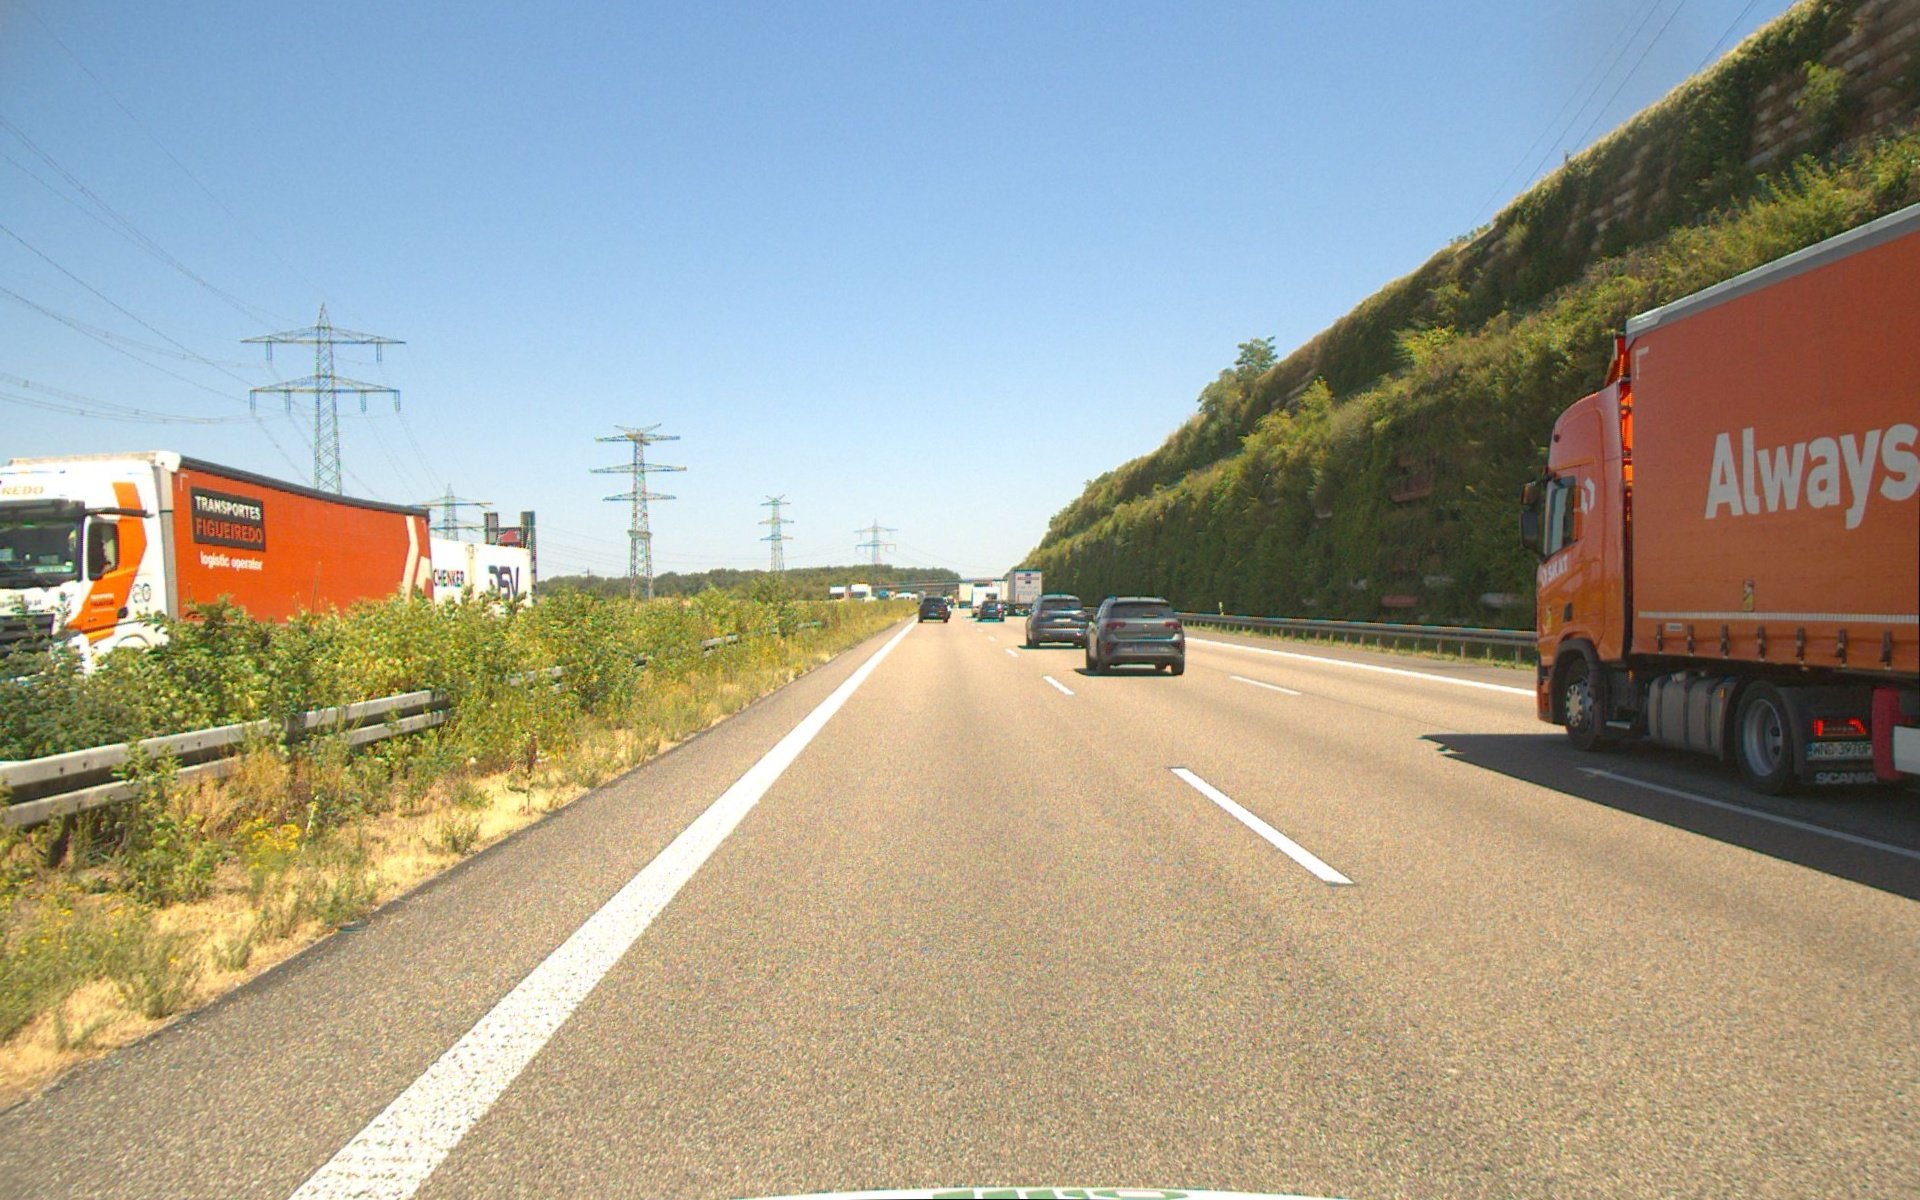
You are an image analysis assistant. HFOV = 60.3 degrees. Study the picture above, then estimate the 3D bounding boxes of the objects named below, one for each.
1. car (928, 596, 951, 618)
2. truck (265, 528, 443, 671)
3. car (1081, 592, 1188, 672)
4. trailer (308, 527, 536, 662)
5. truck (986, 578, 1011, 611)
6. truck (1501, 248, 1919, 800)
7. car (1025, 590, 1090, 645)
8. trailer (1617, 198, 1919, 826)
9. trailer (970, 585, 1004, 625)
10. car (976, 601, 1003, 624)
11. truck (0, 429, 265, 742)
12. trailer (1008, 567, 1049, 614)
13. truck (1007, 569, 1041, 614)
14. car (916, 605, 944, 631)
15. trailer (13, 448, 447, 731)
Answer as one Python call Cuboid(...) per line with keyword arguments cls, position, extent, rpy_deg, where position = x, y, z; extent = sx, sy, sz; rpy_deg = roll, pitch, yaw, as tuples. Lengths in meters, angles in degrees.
Cuboid(cls="car", position=(-1.680, 0.562, 133.810), extent=(1.793, 1.700, 3.999), rpy_deg=(-1, 0, -1))
Cuboid(cls="truck", position=(-17.587, -0.038, 48.482), extent=(2.778, 3.816, 6.847), rpy_deg=(-2, 0, -2))
Cuboid(cls="car", position=(3.589, 0.627, 34.590), extent=(1.714, 1.551, 3.994), rpy_deg=(-1, 0, -1))
Cuboid(cls="trailer", position=(-17.794, -0.178, 56.405), extent=(2.796, 3.889, 15.974), rpy_deg=(-2, 0, -1))
Cuboid(cls="truck", position=(5.243, -0.779, 227.662), extent=(3.055, 4.355, 11.932), rpy_deg=(-1, 0, 0))
Cuboid(cls="truck", position=(7.469, -0.578, 15.479), extent=(2.564, 4.062, 6.525), rpy_deg=(-1, 0, -1))
Cuboid(cls="car", position=(3.080, 0.546, 52.889), extent=(1.757, 1.682, 4.137), rpy_deg=(-1, 0, -1))
Cuboid(cls="trailer", position=(7.556, -0.572, 8.719), extent=(2.591, 4.075, 13.603), rpy_deg=(0, 0, -1))
Cuboid(cls="trailer", position=(2.269, 0.405, 143.032), extent=(2.558, 3.269, 9.950), rpy_deg=(-1, 0, -1))
Cuboid(cls="car", position=(2.080, 0.883, 116.126), extent=(1.792, 1.552, 4.000), rpy_deg=(-1, 0, 0))
Cuboid(cls="truck", position=(-13.391, -0.188, 25.783), extent=(2.547, 4.285, 5.908), rpy_deg=(-2, 0, -1))
Cuboid(cls="trailer", position=(6.326, -0.857, 155.548), extent=(3.118, 4.193, 13.429), rpy_deg=(-1, 0, 0))
Cuboid(cls="truck", position=(6.244, -0.814, 162.492), extent=(3.072, 4.214, 5.503), rpy_deg=(-1, 0, 0))
Cuboid(cls="car", position=(-1.988, 1.185, 110.126), extent=(1.793, 1.700, 3.999), rpy_deg=(-1, 0, -1))
Cuboid(cls="trailer", position=(-13.560, -0.184, 32.858), extent=(2.539, 4.312, 14.324), rpy_deg=(-2, 0, -2))
